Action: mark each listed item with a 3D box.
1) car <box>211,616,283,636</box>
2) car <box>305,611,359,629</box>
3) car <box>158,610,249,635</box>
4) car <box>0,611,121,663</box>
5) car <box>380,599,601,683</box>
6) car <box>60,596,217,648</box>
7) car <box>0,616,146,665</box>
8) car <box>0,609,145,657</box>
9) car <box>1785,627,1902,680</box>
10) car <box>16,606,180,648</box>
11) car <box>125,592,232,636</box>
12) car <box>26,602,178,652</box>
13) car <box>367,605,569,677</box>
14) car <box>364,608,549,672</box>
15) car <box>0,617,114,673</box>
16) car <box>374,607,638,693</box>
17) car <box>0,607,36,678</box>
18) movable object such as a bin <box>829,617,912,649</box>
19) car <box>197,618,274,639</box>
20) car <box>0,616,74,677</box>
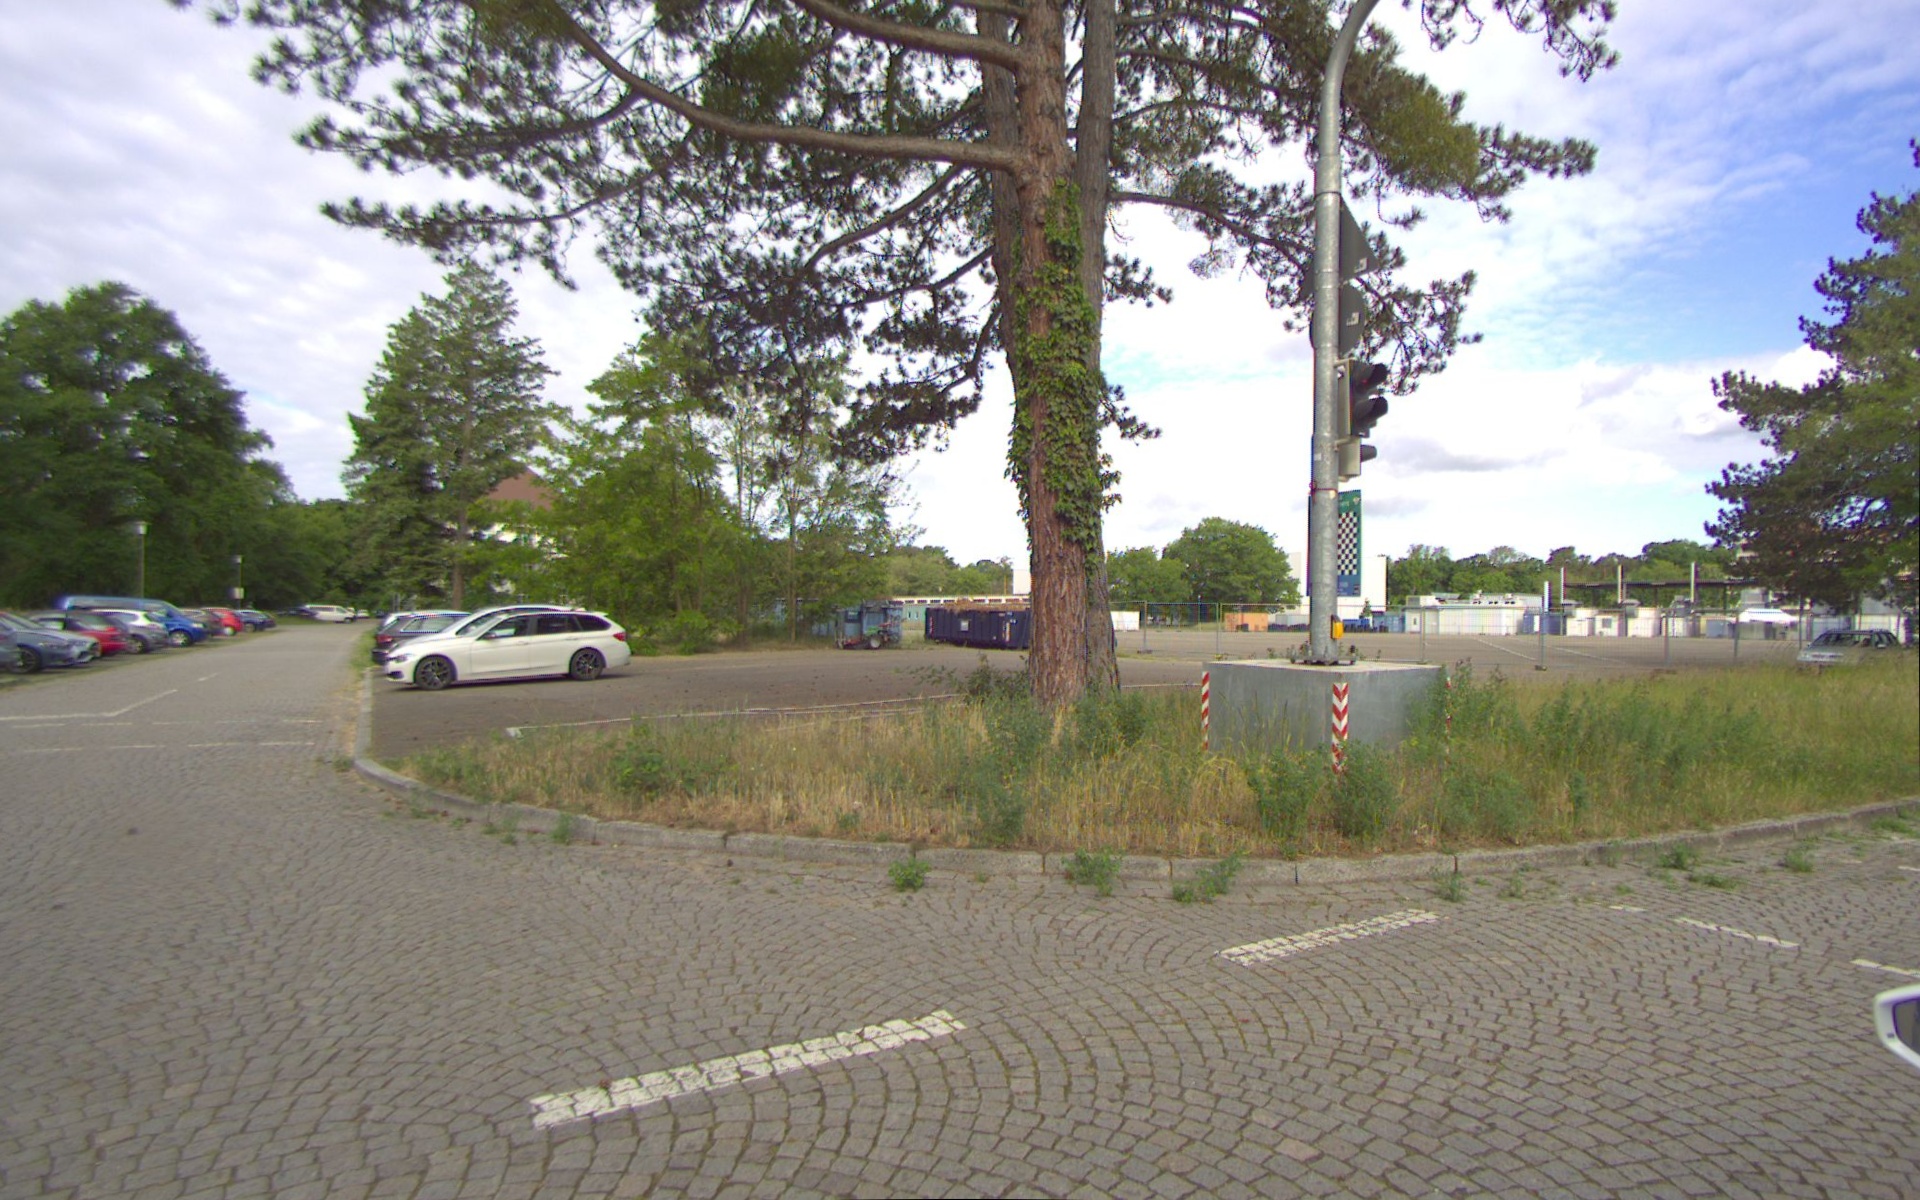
[{"bbox_3d":[-50.164,1.831,70.743,3.953,1.372,1.677,1,-1,-30],"label":"car"},{"bbox_3d":[-70.814,2.252,113.307,5.104,2.040,1.983,1,-1,-31],"label":"car"},{"bbox_3d":[-43.388,1.292,57.730,3.953,1.372,1.677,1,-1,-30],"label":"car"},{"bbox_3d":[-25.908,1.000,27.717,3.953,1.372,1.677,1,-1,-30],"label":"car"},{"bbox_3d":[-10.551,0.854,22.693,4.281,1.605,1.810,-2,1,-34],"label":"car"},{"bbox_3d":[-33.649,0.873,41.332,4.738,2.007,1.982,0,0,-31],"label":"car"},{"bbox_3d":[-26.734,1.179,29.626,3.953,1.372,1.677,1,-1,-30],"label":"car"},{"bbox_3d":[-28.444,1.029,31.716,3.953,1.457,1.677,1,-1,-30],"label":"car"},{"bbox_3d":[27.308,1.602,31.036,3.954,1.507,1.605,1,-1,-31],"label":"car"},{"bbox_3d":[-29.333,0.922,34.343,3.953,1.372,1.677,1,-1,-30],"label":"car"},{"bbox_3d":[-38.049,0.705,49.061,3.959,2.040,1.853,1,-1,-34],"label":"car"},{"bbox_3d":[-31.218,0.957,36.705,3.951,1.737,1.678,0,0,-29],"label":"car"},{"bbox_3d":[-12.186,0.946,24.988,4.281,1.522,1.843,-2,1,-34],"label":"car"},{"bbox_3d":[-13.541,1.042,27.115,4.282,1.587,1.782,1,-1,-34],"label":"car"},{"bbox_3d":[-24.324,1.121,25.603,3.953,1.372,1.677,1,-1,-30],"label":"car"},{"bbox_3d":[-9.190,0.934,20.506,4.690,1.461,1.799,-1,1,-34],"label":"car"},{"bbox_3d":[-22.025,0.862,20.811,3.955,1.492,1.676,1,-1,-32],"label":"car"},{"bbox_3d":[-3.082,1.111,34.663,2.633,1.062,1.170,1,-1,-36],"label":"movable object such as a bin"},{"bbox_3d":[-48.161,1.886,66.848,3.953,1.372,1.677,1,-1,-30],"label":"car"},{"bbox_3d":[-23.184,1.047,23.075,3.953,1.372,1.677,1,-1,-30],"label":"car"}]
